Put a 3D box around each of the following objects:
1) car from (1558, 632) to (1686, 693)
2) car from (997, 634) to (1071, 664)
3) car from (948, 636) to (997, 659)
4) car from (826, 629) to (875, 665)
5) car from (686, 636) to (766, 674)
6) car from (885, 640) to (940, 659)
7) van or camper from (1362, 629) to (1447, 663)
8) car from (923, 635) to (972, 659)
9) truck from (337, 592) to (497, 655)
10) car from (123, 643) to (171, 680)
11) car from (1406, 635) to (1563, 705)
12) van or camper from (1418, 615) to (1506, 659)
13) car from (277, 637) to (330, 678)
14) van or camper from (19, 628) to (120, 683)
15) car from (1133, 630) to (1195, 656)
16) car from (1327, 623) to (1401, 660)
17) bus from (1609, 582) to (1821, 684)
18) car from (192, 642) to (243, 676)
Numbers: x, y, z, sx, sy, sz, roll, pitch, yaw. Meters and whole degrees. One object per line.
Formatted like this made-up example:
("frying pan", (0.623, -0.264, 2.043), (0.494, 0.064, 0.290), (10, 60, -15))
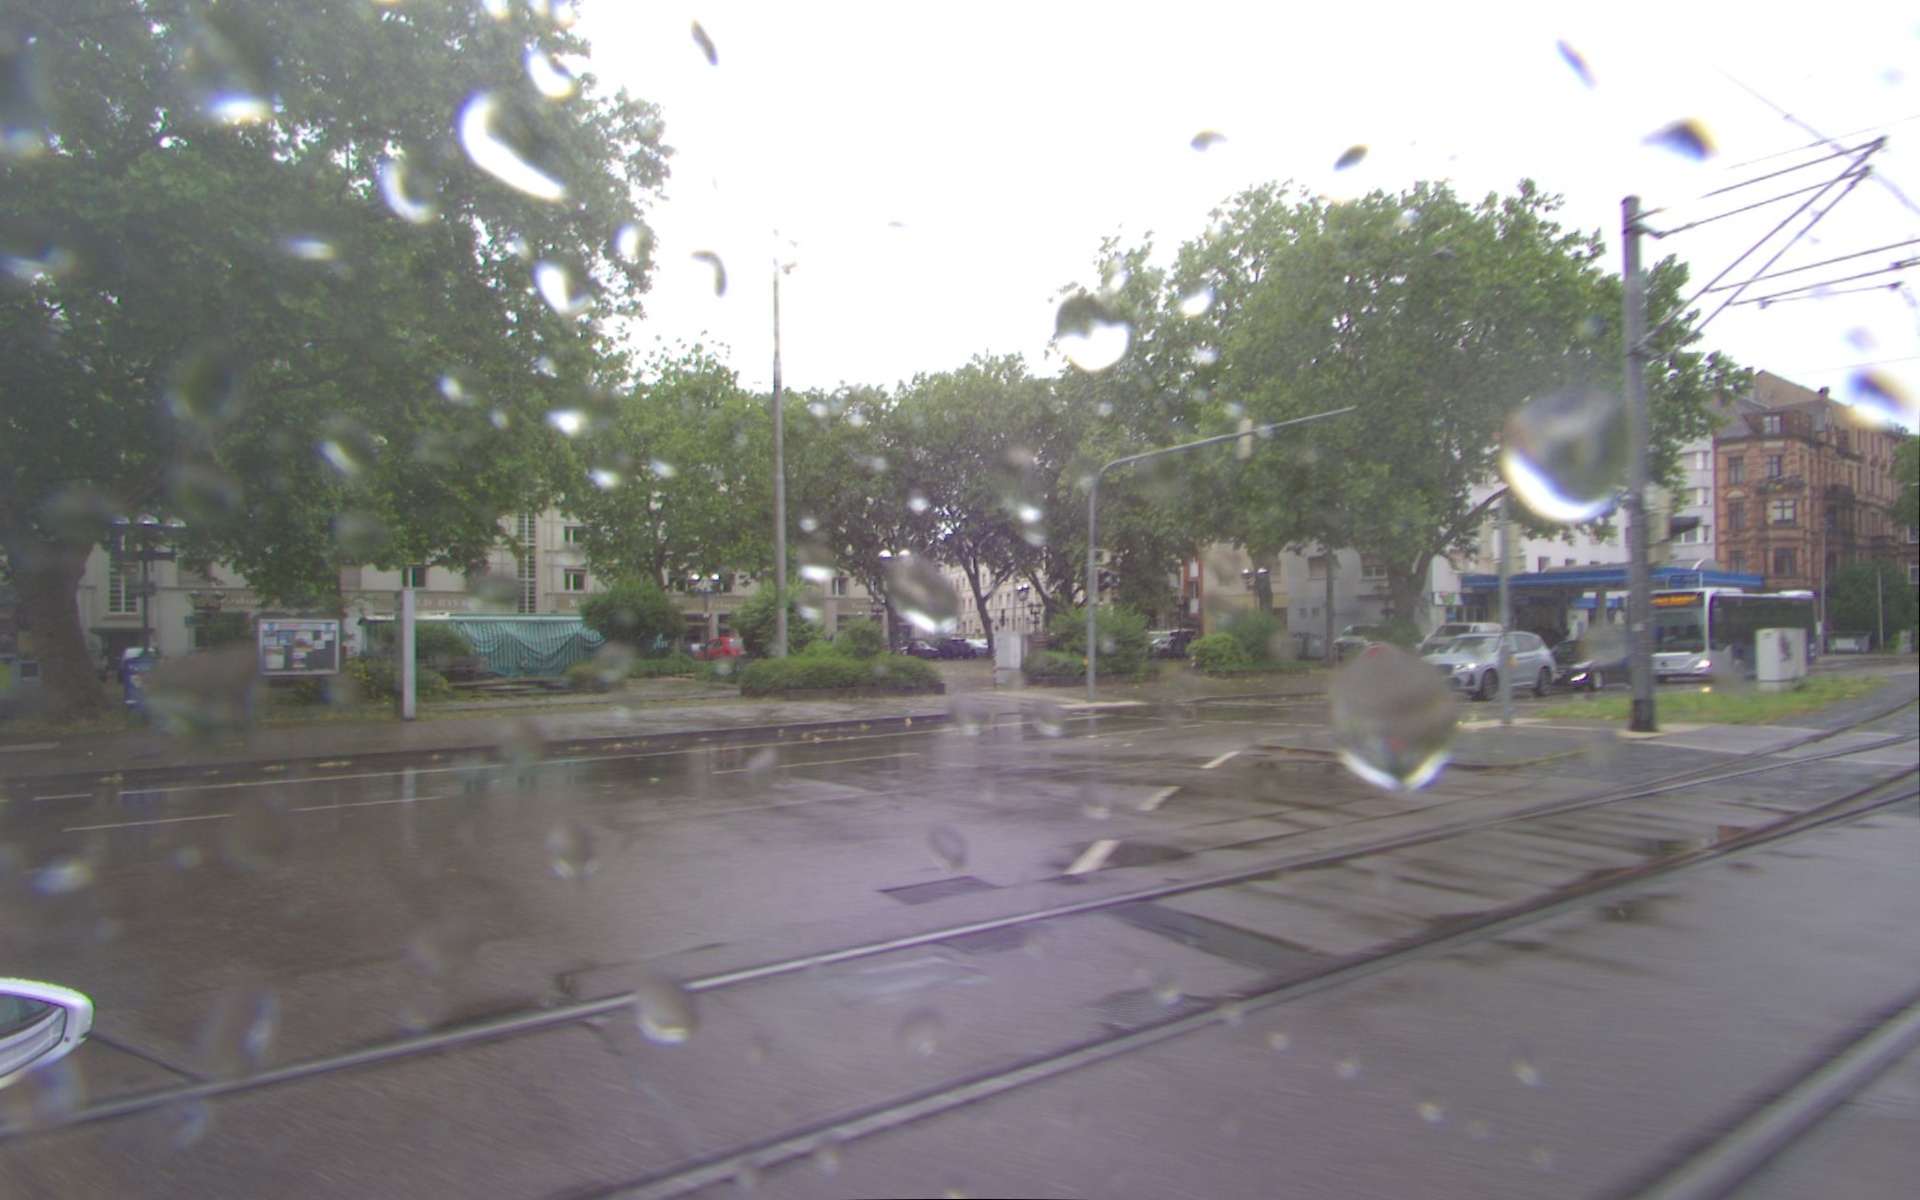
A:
("car", (18.966, 1.716, 28.655), (4.128, 1.620, 1.766), (1, -2, -37))
("car", (4.156, 2.792, 56.852), (1.978, 1.638, 3.968), (1, -2, -40))
("car", (0.910, 3.539, 74.297), (1.694, 1.637, 3.977), (2, -4, -33))
("car", (-7.351, 3.185, 67.061), (1.534, 2.230, 4.076), (0, -4, -34))
("car", (-9.877, 2.306, 42.175), (1.652, 1.541, 3.644), (1, -3, -44))
("car", (-3.332, 3.420, 69.797), (1.976, 1.223, 3.971), (1, -2, -37))
("van or camper", (21.824, 2.228, 49.099), (4.618, 1.619, 1.984), (1, -2, -40))
("car", (-0.959, 3.414, 72.225), (1.694, 1.637, 3.977), (2, -4, -33))
("truck", (-25.364, 1.128, 46.939), (6.326, 2.733, 2.251), (1, -3, -39))
("car", (-37.115, 2.812, 45.772), (1.666, 1.594, 3.708), (1, -3, -38))
("car", (13.344, 1.703, 25.378), (4.500, 1.620, 1.779), (1, -2, -37))
("van or camper", (23.609, 1.720, 47.026), (4.618, 1.939, 1.984), (1, -2, -40))
("car", (-32.431, 2.849, 49.427), (2.134, 1.860, 3.978), (0, -4, -34))
("van or camper", (-39.286, 2.428, 44.349), (2.371, 2.259, 5.402), (0, -2, -31))
("car", (12.911, 2.689, 63.345), (3.849, 1.571, 1.815), (1, -2, -38))
("car", (20.775, 2.099, 51.408), (4.213, 1.801, 1.725), (1, -2, -39))
("bus", (27.134, 1.166, 35.629), (11.956, 3.153, 2.872), (1, -2, -37))
("car", (-35.283, 2.836, 47.650), (1.662, 1.449, 3.717), (0, -5, -33))
